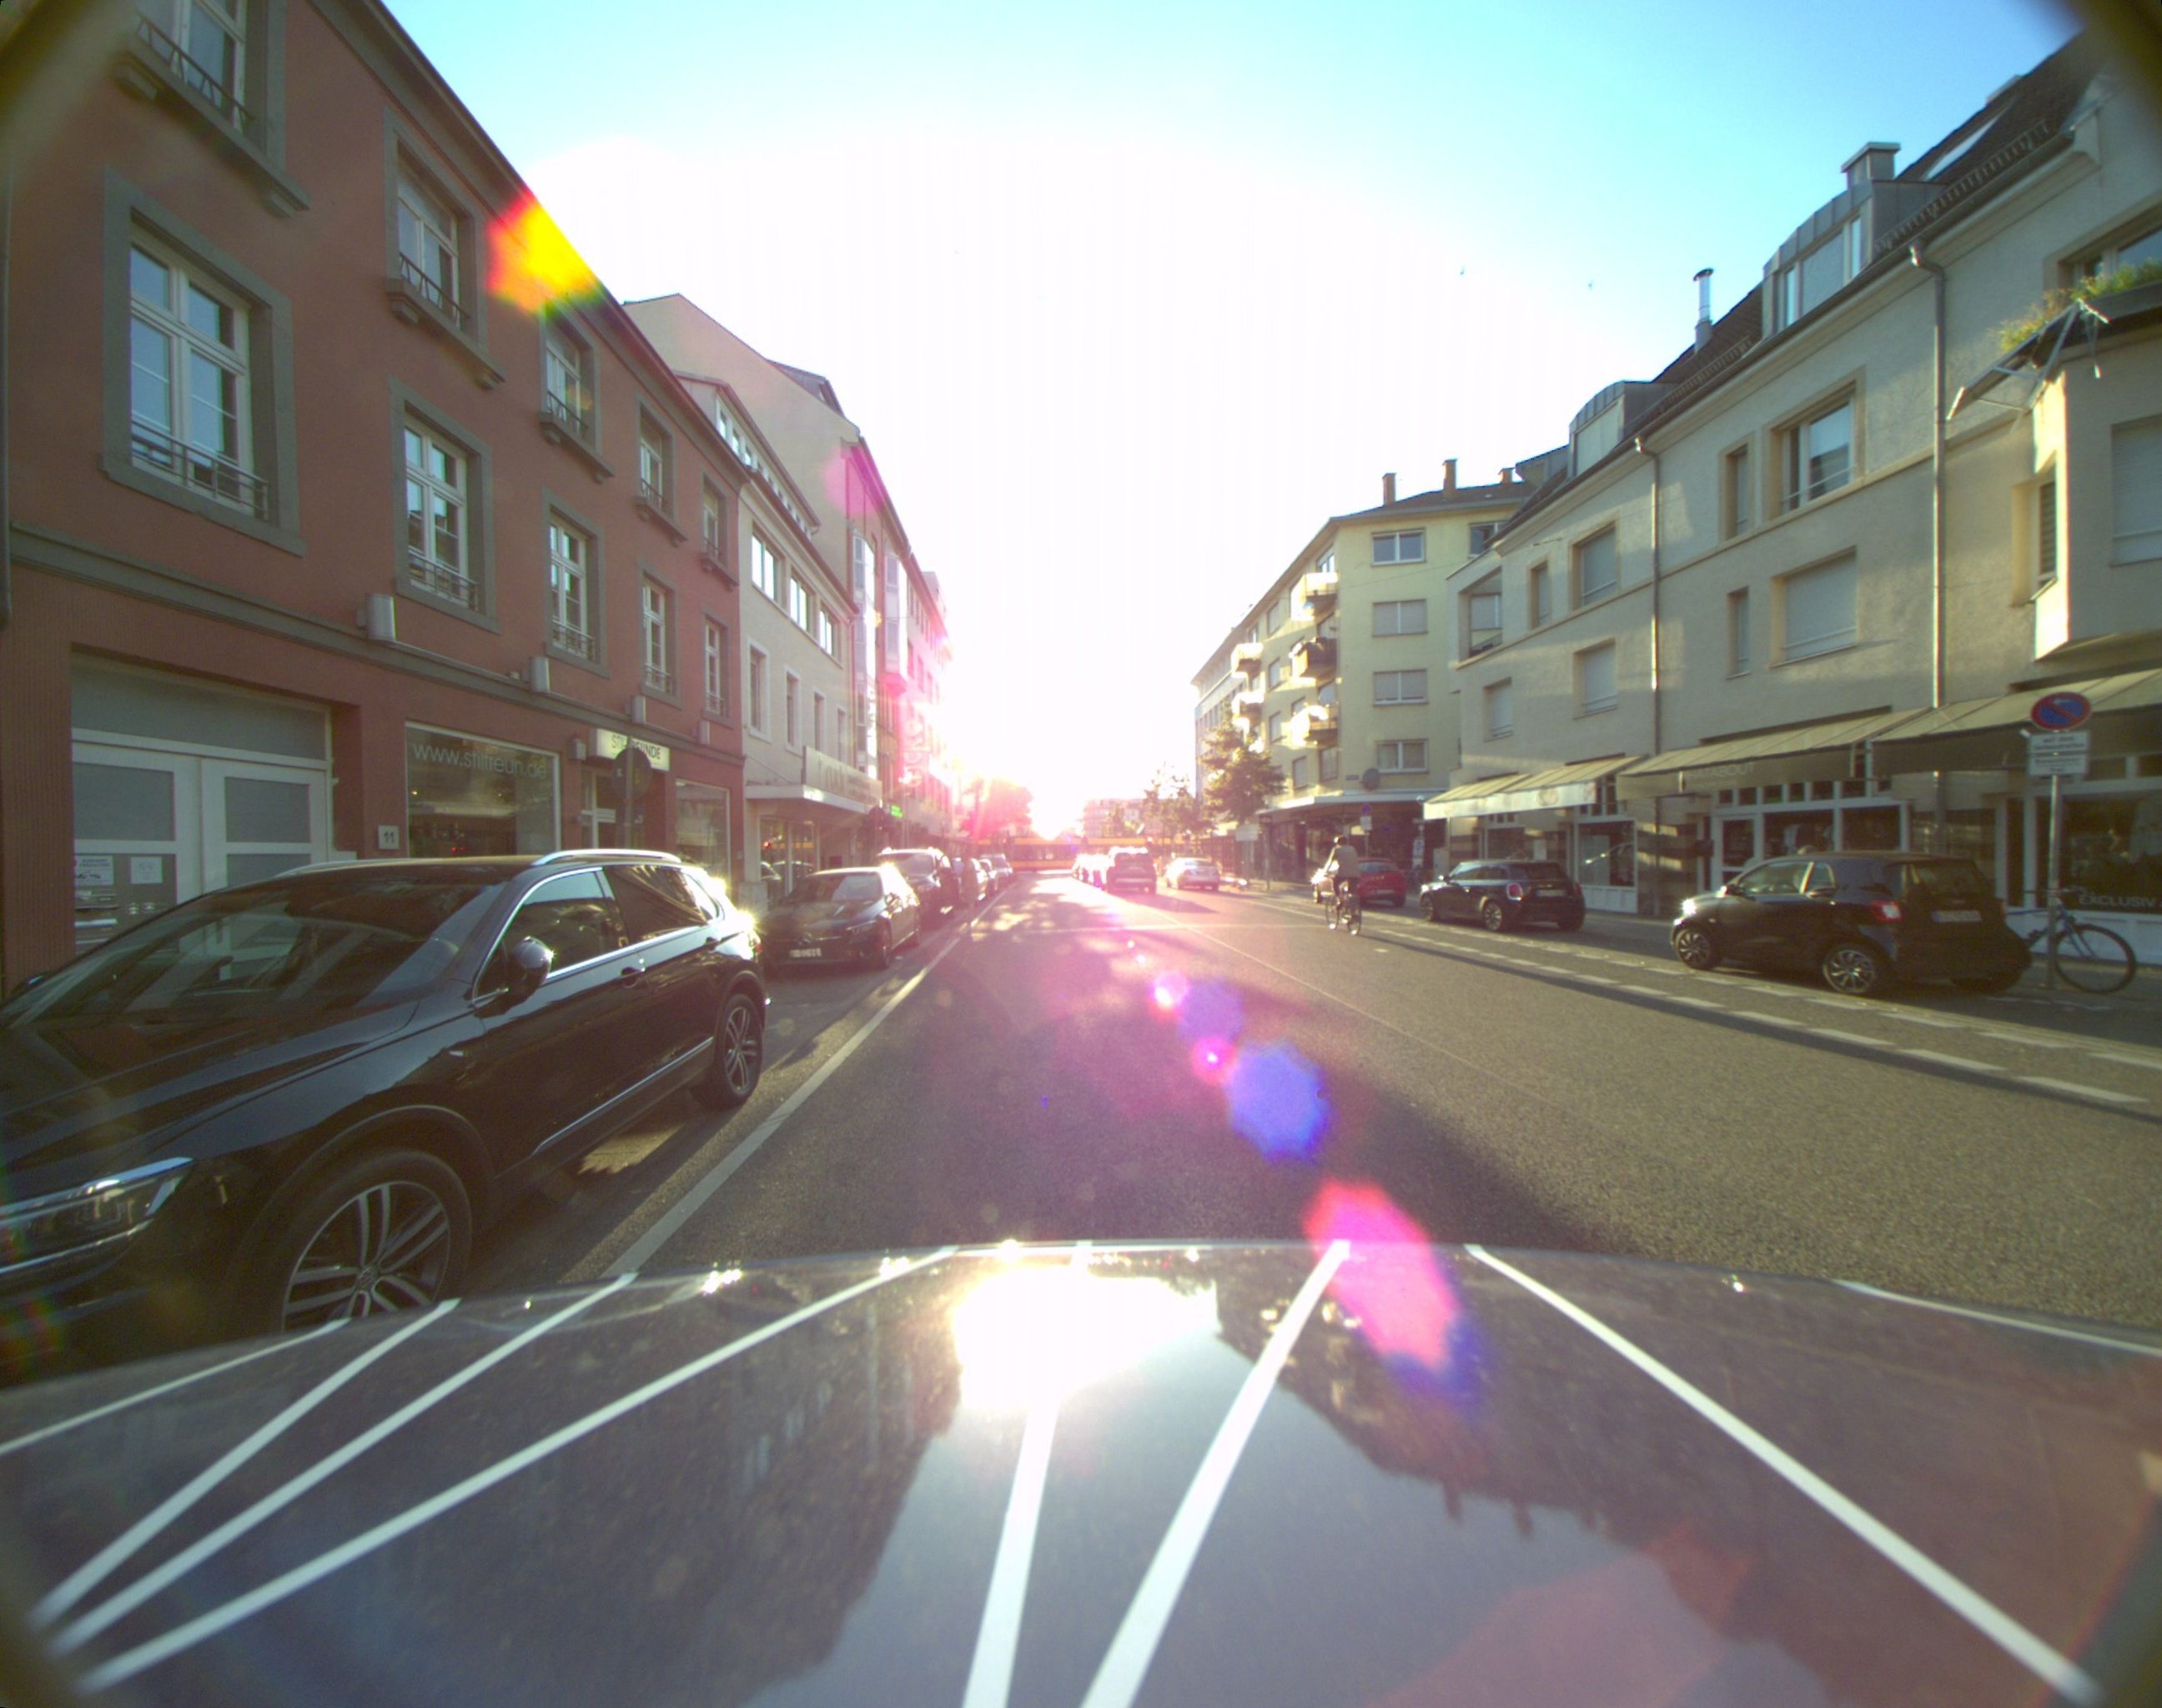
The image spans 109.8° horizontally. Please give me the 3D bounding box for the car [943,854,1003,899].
[{"bbox_3d":[-4.306,0.848,30.917,1.999,1.645,4.478,-1,0,-3],"label":"car"}]

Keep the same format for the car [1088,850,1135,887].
[{"bbox_3d":[1.414,0.657,36.681,1.843,1.639,4.299,1,0,-3],"label":"car"}]

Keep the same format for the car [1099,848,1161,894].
[{"bbox_3d":[1.827,0.593,29.588,1.843,1.639,4.298,1,0,-4],"label":"car"}]

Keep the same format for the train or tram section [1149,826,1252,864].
[{"bbox_3d":[13.280,-1.060,83.506,11.863,3.788,3.139,-3,1,-32],"label":"train or tram section"}]

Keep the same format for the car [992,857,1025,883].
[{"bbox_3d":[-4.409,0.930,46.414,1.694,1.494,3.786,0,1,-1],"label":"car"}]

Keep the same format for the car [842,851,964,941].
[{"bbox_3d":[-4.075,0.848,18.286,1.999,1.767,5.316,-2,1,-4],"label":"car"}]

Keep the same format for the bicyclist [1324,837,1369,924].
[{"bbox_3d":[4.938,0.477,14.180,0.548,1.571,0.803,-1,1,1],"label":"bicyclist"}]

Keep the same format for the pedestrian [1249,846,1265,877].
[{"bbox_3d":[10.293,0.459,44.364,0.720,1.781,0.666,-1,1,-2],"label":"pedestrian"}]

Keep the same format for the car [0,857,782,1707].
[{"bbox_3d":[-3.026,0.922,3.307,1.799,1.688,4.458,-3,1,-3],"label":"car"}]

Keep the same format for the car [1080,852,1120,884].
[{"bbox_3d":[1.038,0.745,43.029,1.843,1.639,4.298,1,0,-4],"label":"car"}]

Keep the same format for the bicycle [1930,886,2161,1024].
[{"bbox_3d":[10.476,0.993,8.133,0.560,1.199,1.977,0,1,0],"label":"bicycle"}]

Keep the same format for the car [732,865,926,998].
[{"bbox_3d":[-3.678,1.029,11.958,1.689,1.479,4.409,-3,1,-3],"label":"car"}]

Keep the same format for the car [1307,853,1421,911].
[{"bbox_3d":[8.396,0.779,22.889,1.794,1.571,3.785,-1,1,-4],"label":"car"}]

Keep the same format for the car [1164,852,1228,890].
[{"bbox_3d":[5.165,0.740,34.646,1.999,1.595,4.403,0,0,-3],"label":"car"}]

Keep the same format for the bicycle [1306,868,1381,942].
[{"bbox_3d":[4.898,0.913,14.335,0.665,1.235,2.130,1,0,1],"label":"bicycle"}]

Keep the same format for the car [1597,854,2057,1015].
[{"bbox_3d":[8.911,0.813,9.669,1.794,1.571,3.965,-1,1,-5],"label":"car"}]

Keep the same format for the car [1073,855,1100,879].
[{"bbox_3d":[0.332,0.837,49.699,1.503,1.426,4.026,1,0,-4],"label":"car"}]

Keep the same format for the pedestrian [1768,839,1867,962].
[{"bbox_3d":[10.736,0.658,11.094,0.720,1.724,0.738,-1,1,-3],"label":"pedestrian"}]

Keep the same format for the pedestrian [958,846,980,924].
[{"bbox_3d":[-2.724,0.742,18.435,0.485,1.847,0.539,-1,1,-10],"label":"pedestrian"}]

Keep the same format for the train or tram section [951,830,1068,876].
[{"bbox_3d":[-6.588,-0.175,71.057,10.456,3.788,3.139,-3,1,-32],"label":"train or tram section"}]

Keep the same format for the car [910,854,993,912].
[{"bbox_3d":[-4.098,0.861,24.790,1.999,1.645,4.626,-2,1,-2],"label":"car"}]

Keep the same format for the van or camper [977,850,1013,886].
[{"bbox_3d":[-4.666,0.704,40.634,1.794,1.763,4.554,-1,1,-8],"label":"van or camper"}]

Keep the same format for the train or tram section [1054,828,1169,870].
[{"bbox_3d":[3.248,-0.614,77.238,11.863,3.788,3.139,-3,1,-32],"label":"train or tram section"}]

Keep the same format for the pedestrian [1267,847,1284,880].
[{"bbox_3d":[10.838,0.513,42.342,0.720,1.781,0.666,-1,1,-2],"label":"pedestrian"}]

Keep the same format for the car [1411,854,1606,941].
[{"bbox_3d":[8.757,0.795,15.988,1.794,1.571,3.785,-1,1,-4],"label":"car"}]
